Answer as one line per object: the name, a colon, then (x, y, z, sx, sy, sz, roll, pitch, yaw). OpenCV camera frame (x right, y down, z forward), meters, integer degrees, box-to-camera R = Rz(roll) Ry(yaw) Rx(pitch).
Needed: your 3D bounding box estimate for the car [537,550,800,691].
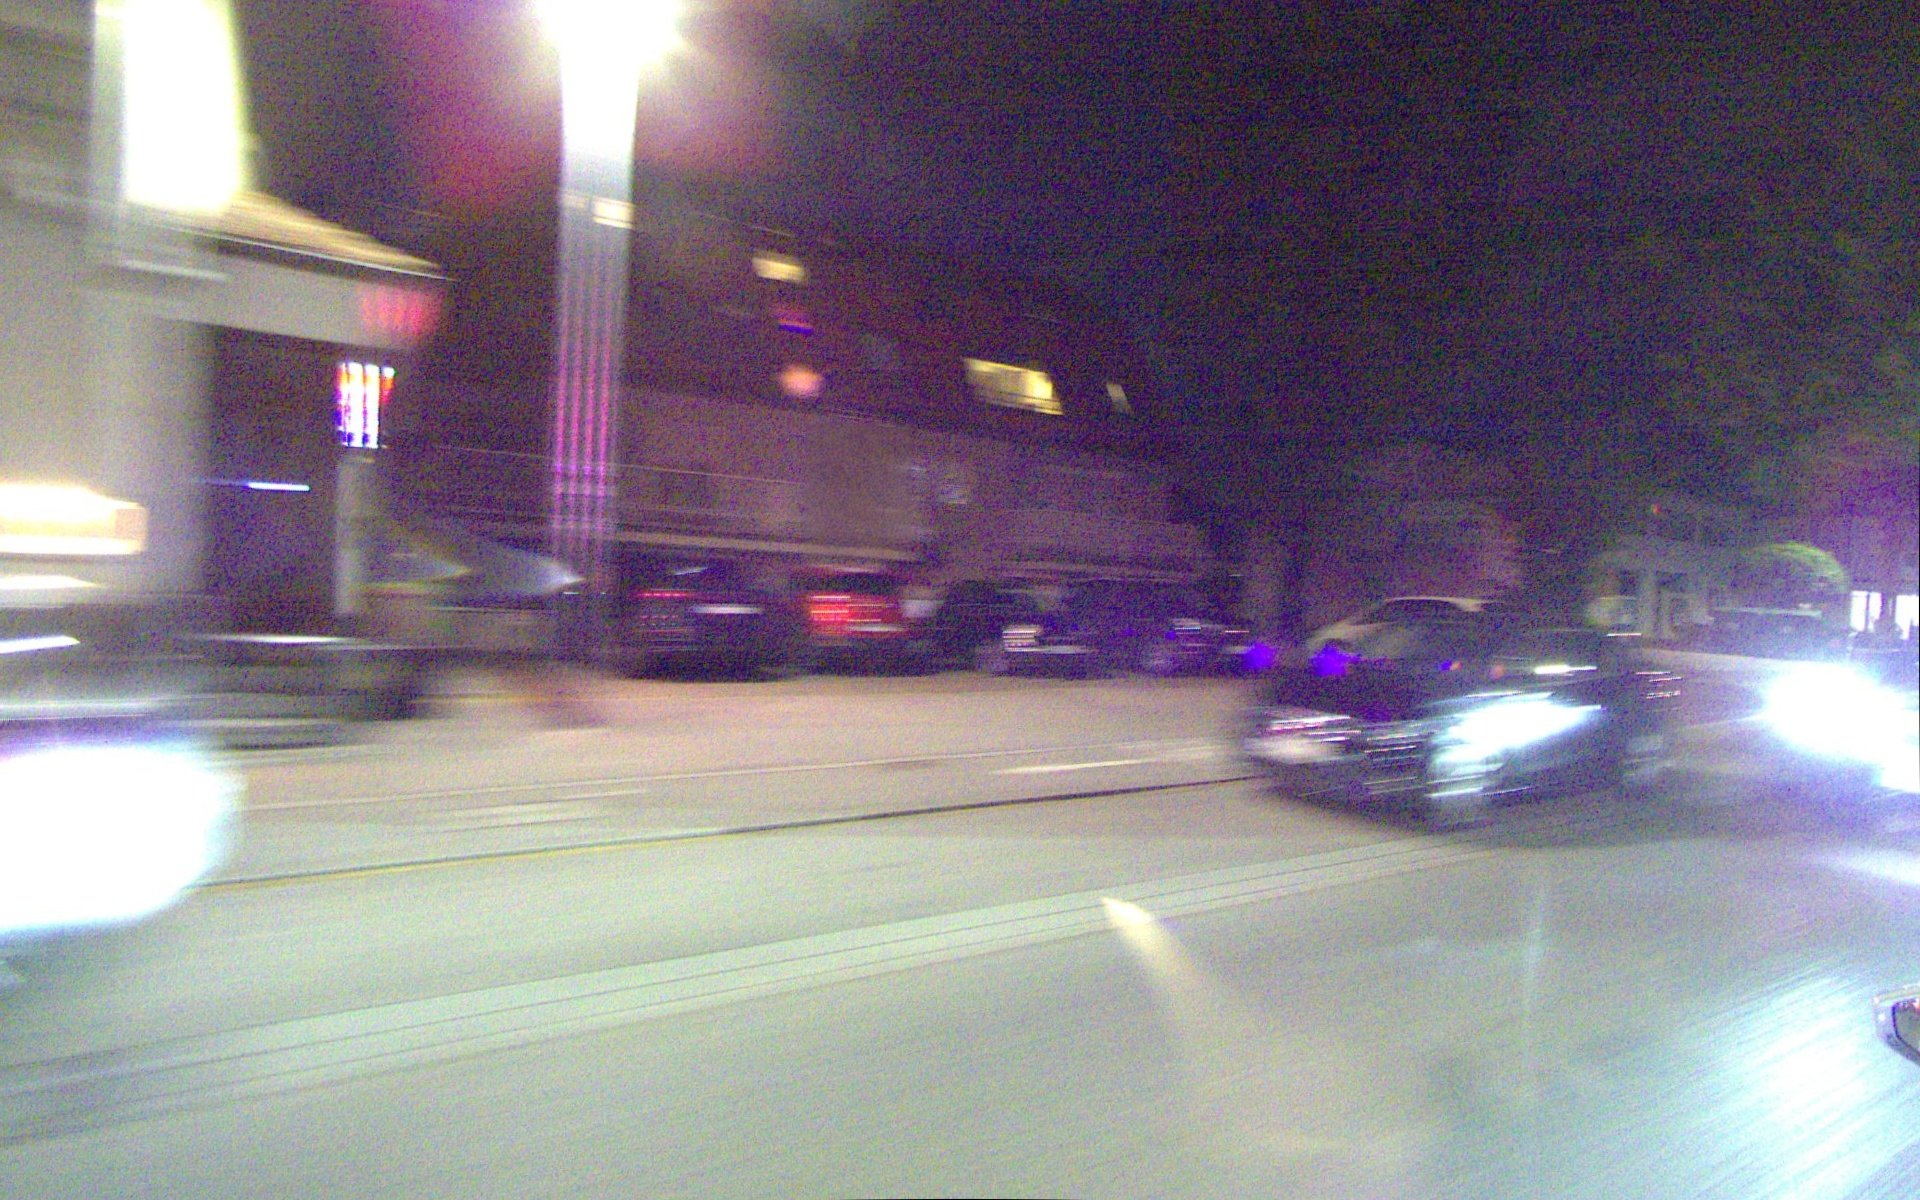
car: (-4.082, 0.207, 13.587, 2.011, 1.582, 4.279, 1, 0, -37)

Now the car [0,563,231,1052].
car: (-4.724, 0.600, 3.035, 3.922, 1.488, 1.761, 1, 2, -32)

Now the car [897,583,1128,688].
car: (0.714, 0.498, 16.476, 1.976, 1.483, 3.969, 1, 0, -29)

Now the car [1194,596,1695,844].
car: (3.944, 0.776, 8.019, 3.964, 1.488, 1.739, 1, 1, -32)

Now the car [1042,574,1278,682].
car: (3.416, 0.478, 17.950, 1.976, 1.684, 4.098, 1, -1, -29)

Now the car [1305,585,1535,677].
car: (9.511, 0.633, 21.009, 1.930, 1.725, 3.958, 1, -2, -37)

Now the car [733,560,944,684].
car: (-2.009, 0.273, 15.508, 1.974, 1.639, 3.972, 1, 0, -27)

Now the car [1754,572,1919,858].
car: (7.972, 0.765, 7.244, 4.505, 1.771, 1.993, 1, 0, -30)
